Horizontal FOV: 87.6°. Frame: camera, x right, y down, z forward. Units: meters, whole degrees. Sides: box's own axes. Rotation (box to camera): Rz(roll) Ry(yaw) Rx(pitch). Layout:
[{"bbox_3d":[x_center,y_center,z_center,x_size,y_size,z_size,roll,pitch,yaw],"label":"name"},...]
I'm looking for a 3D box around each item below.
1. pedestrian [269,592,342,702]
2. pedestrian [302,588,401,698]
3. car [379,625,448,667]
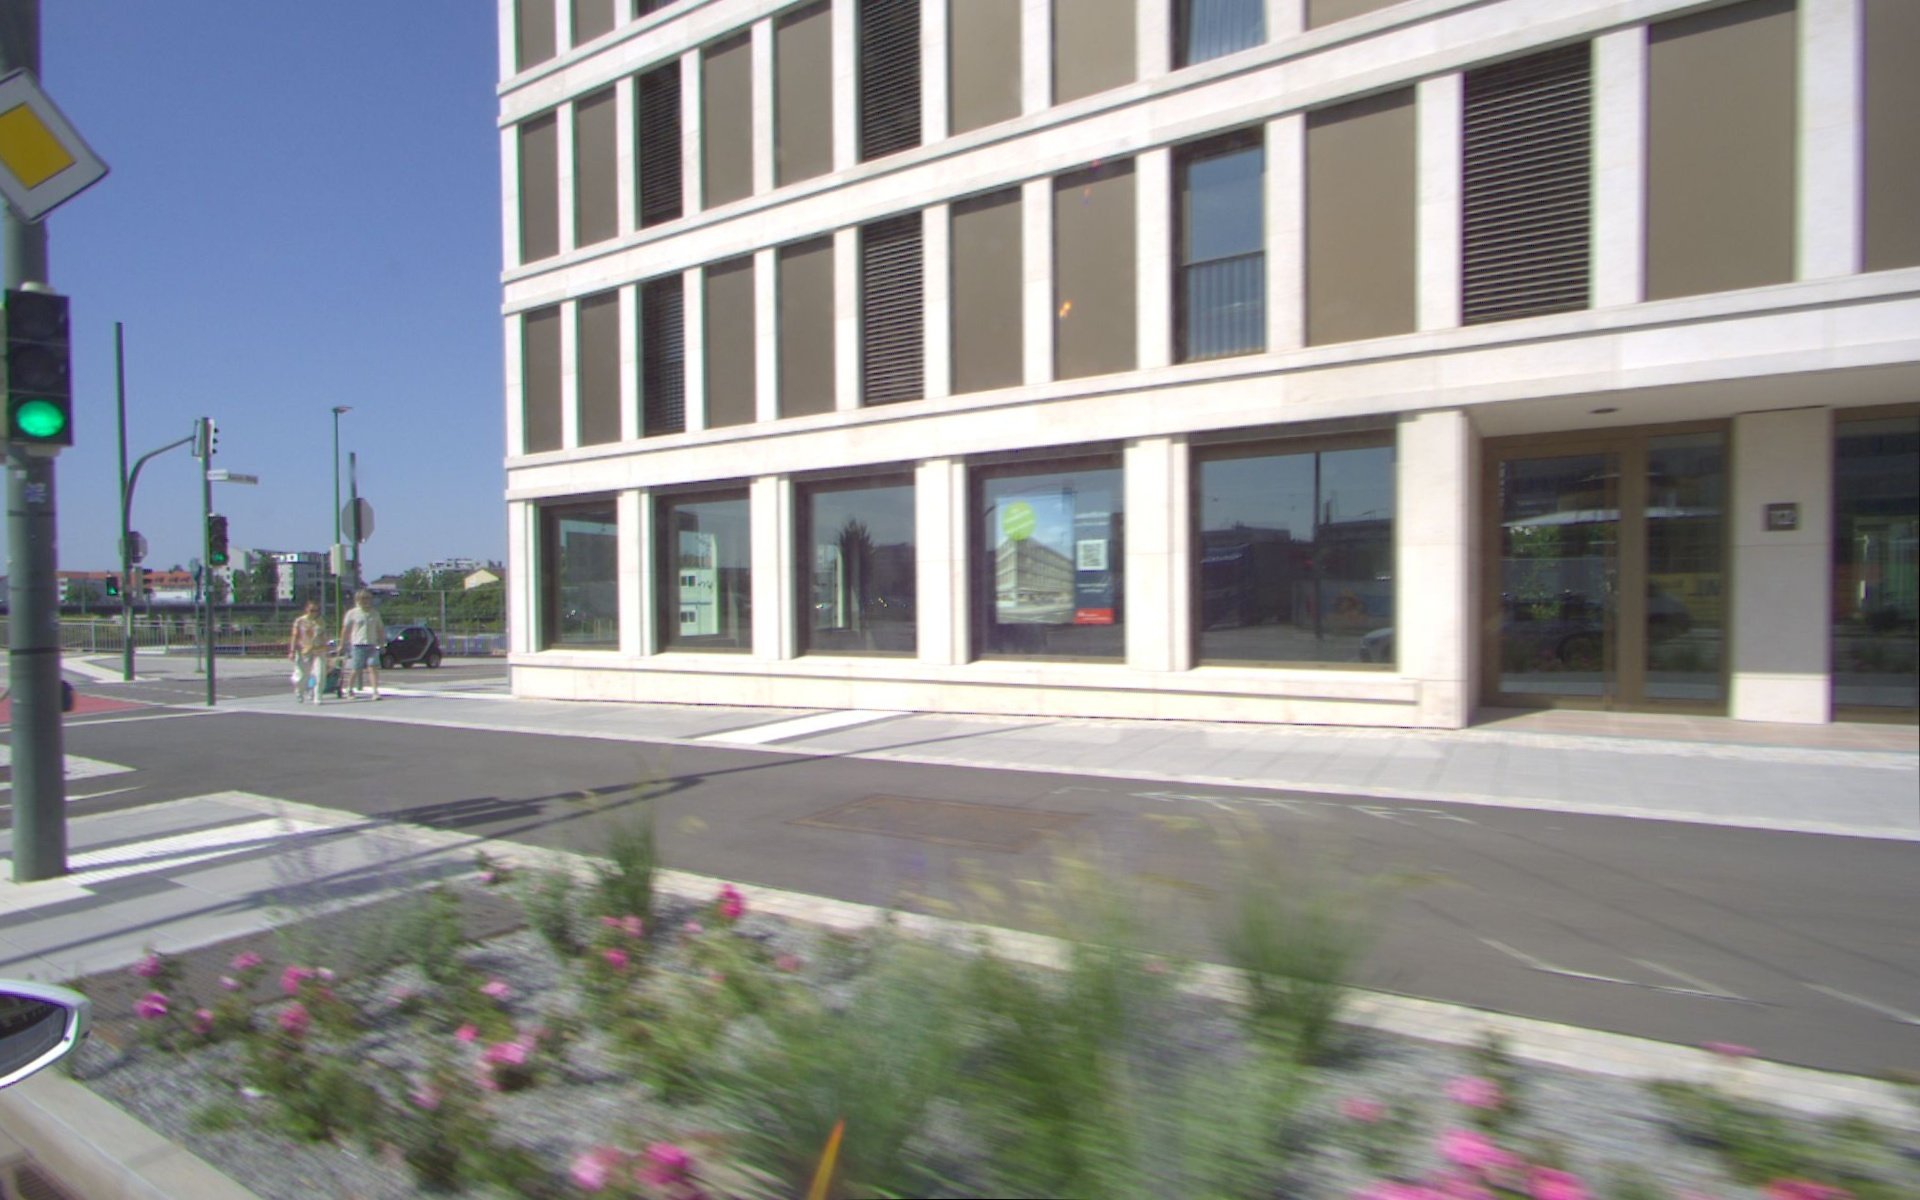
[{"bbox_3d":[-10.751,0.759,16.457,0.785,1.747,0.698,-1,1,33],"label":"pedestrian"},{"bbox_3d":[-10.768,0.746,17.712,1.641,1.850,0.876,0,0,33],"label":"pedestrian"},{"bbox_3d":[-20.024,1.664,36.826,1.432,1.483,3.365,0,-2,-14],"label":"car"}]
